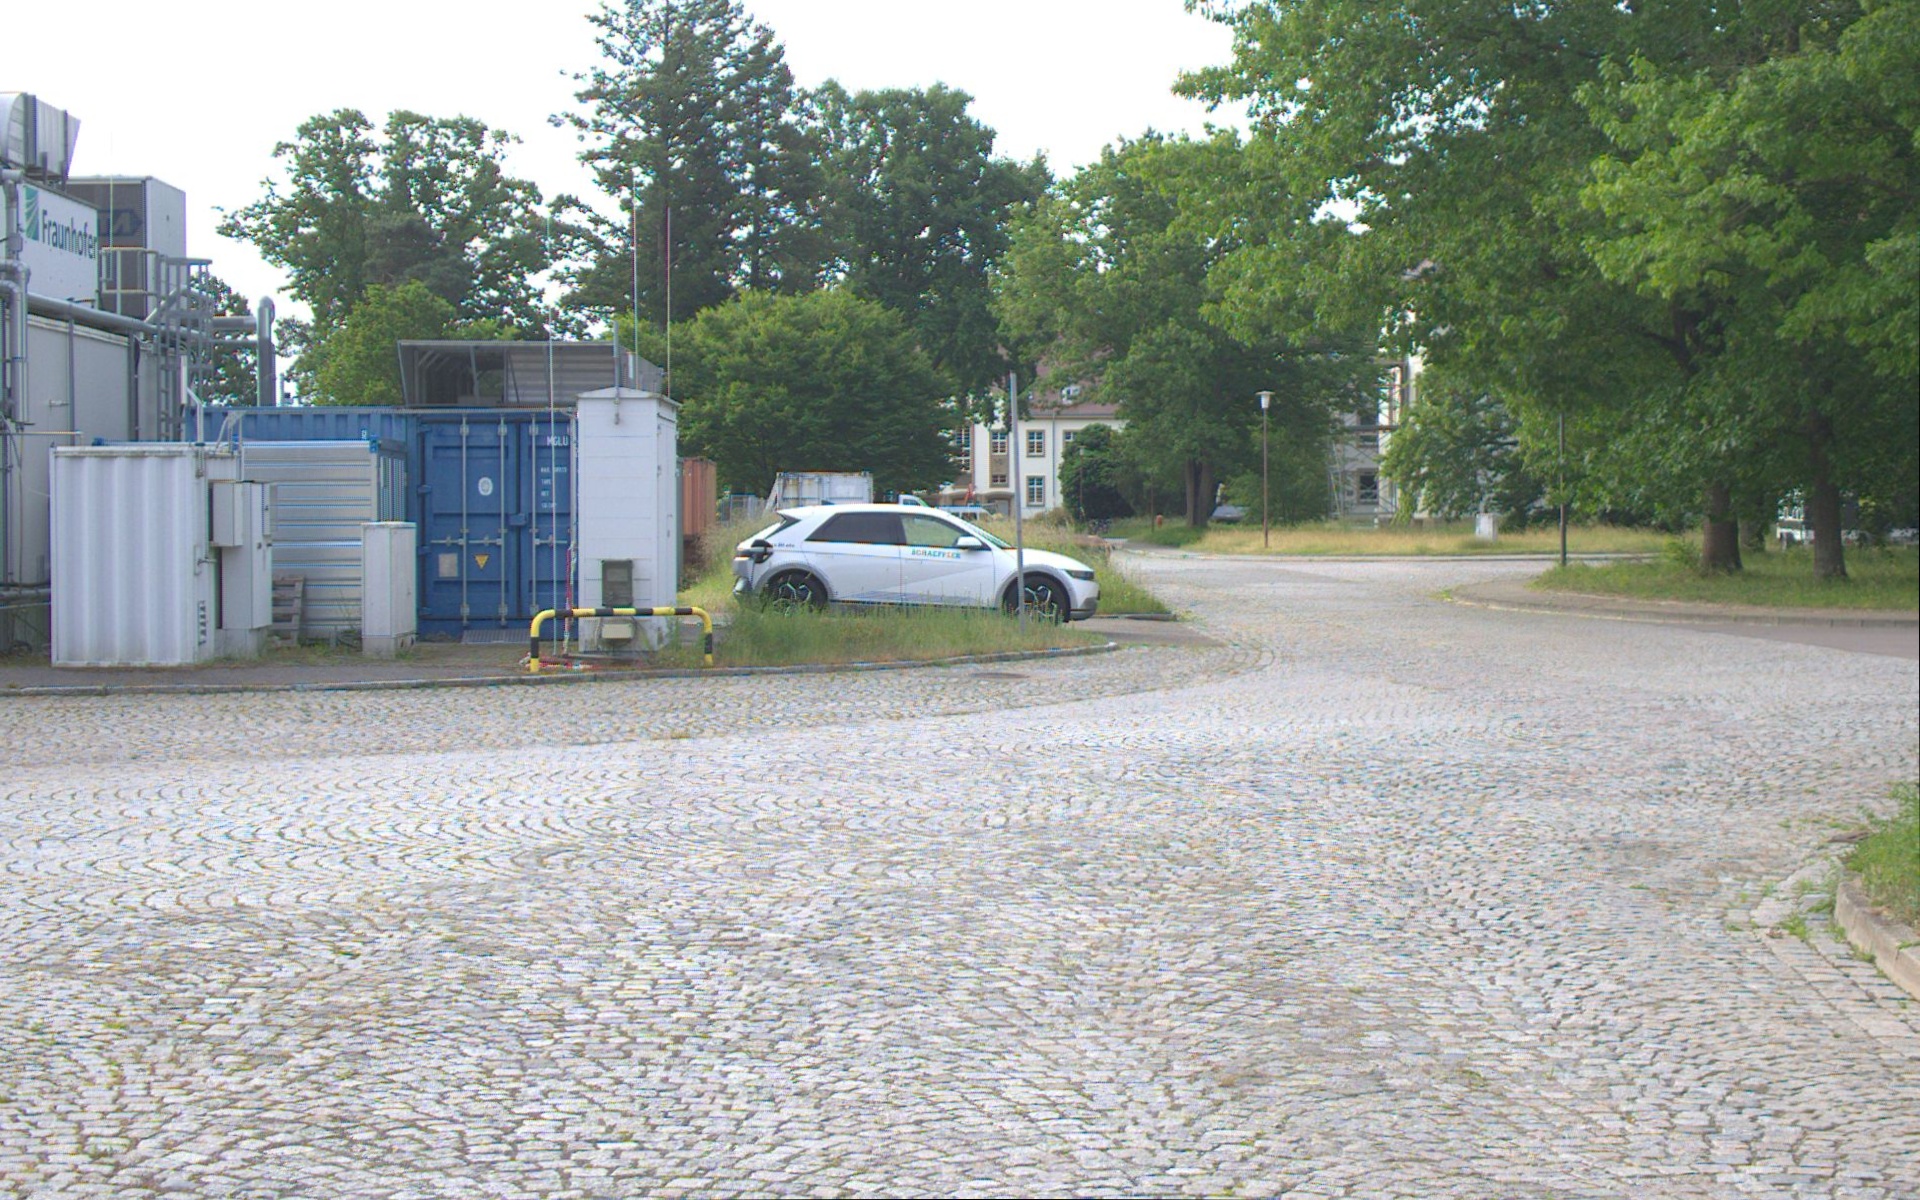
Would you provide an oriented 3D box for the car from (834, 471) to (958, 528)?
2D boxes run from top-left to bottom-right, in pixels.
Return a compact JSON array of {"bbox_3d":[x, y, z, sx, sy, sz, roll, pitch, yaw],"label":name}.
[{"bbox_3d":[-2.706,-4.236,144.917,5.170,2.329,2.000,0,1,-1],"label":"car"}]

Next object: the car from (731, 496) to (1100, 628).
[{"bbox_3d":[-0.525,-0.500,43.396,4.534,1.594,2.000,0,2,2],"label":"car"}]
